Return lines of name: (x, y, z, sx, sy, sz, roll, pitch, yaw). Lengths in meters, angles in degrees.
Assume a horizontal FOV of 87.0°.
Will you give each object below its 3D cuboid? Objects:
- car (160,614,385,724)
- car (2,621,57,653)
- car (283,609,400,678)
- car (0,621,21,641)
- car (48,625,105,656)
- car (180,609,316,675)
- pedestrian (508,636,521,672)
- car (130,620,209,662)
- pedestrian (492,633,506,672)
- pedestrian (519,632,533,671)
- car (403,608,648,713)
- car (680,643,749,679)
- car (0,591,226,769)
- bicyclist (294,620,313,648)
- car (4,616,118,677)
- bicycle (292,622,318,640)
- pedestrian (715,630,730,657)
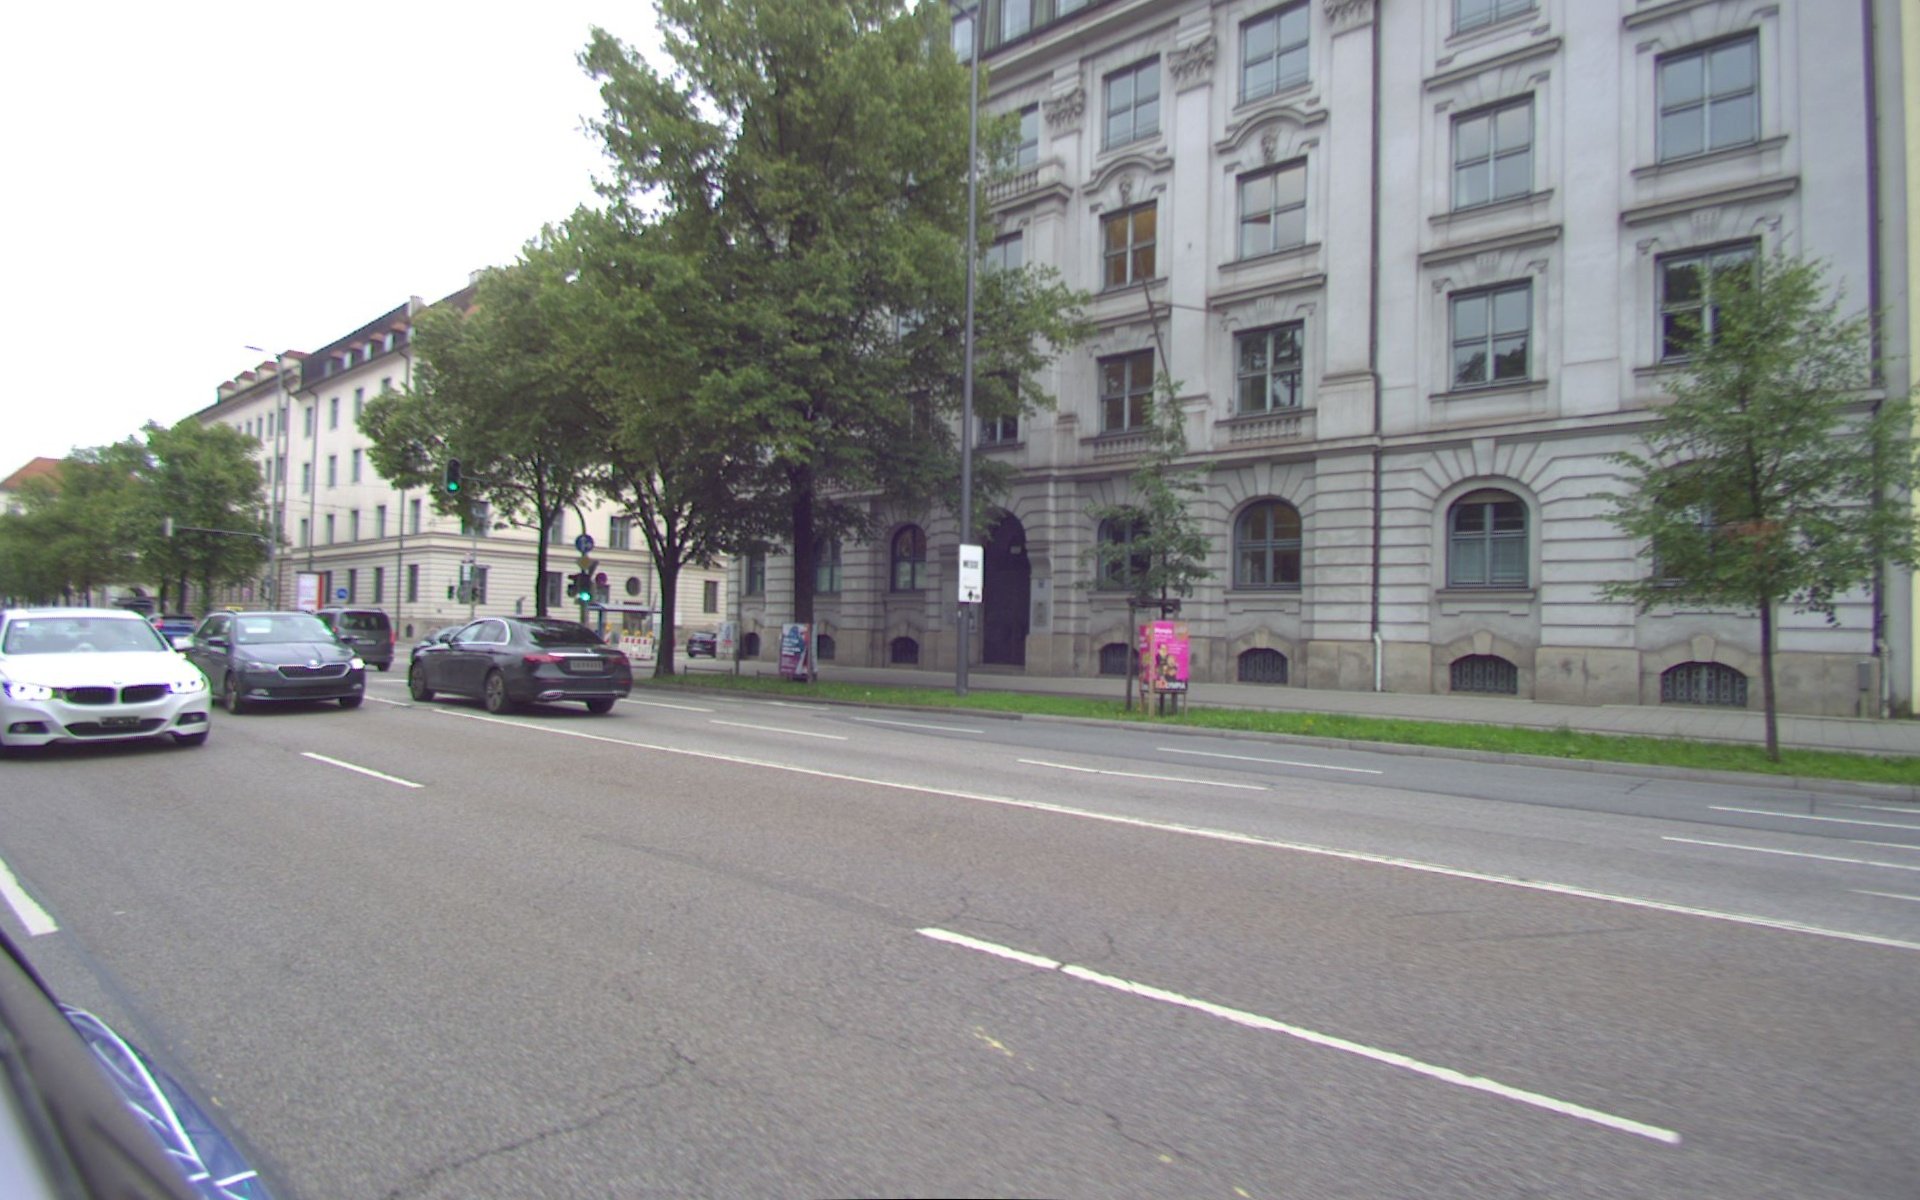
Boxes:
car: (-10.718, 0.979, 15.665, 4.272, 1.458, 1.774, 0, -3, 40)
car: (-47.799, 1.910, 51.955, 3.943, 1.583, 1.617, -1, -3, 41)
car: (-18.507, 1.279, 30.208, 4.260, 1.763, 1.808, 1, -4, 43)
car: (-76.665, 2.432, 80.989, 4.225, 1.542, 1.735, -1, -3, 41)
car: (-48.589, 2.230, 55.636, 3.997, 1.608, 1.726, -1, -5, 40)
car: (-18.486, 1.131, 26.189, 4.821, 1.554, 1.808, -3, -5, 42)
pedestrian: (-21.374, 2.589, 48.549, 0.494, 1.752, 0.471, 2, -2, -31)
car: (-34.077, 1.757, 43.577, 4.348, 1.668, 1.821, -1, -4, 41)
pedestrian: (-21.835, 2.485, 47.942, 0.494, 1.869, 0.529, 2, -2, -31)
pedestrian: (-21.096, 2.493, 49.172, 0.494, 1.869, 0.471, 2, -2, -31)
car: (-7.074, 0.929, 16.209, 4.746, 1.434, 1.748, -1, -5, 42)
car: (-12.519, 3.099, 51.722, 1.682, 1.744, 3.547, 0, -3, 22)
car: (-10.274, 0.793, 11.655, 5.023, 1.649, 1.774, 0, -3, 40)
bicyclist: (-37.141, 1.920, 57.227, 0.892, 1.590, 0.653, -1, -2, 41)
car: (-24.631, 1.237, 27.684, 4.335, 1.528, 1.674, -1, -3, 40)
bicycle: (-36.997, 1.767, 57.128, 2.180, 0.995, 0.655, -1, -2, 42)
pedestrian: (-16.852, 3.092, 71.926, 0.660, 1.866, 0.797, -1, -2, 41)
